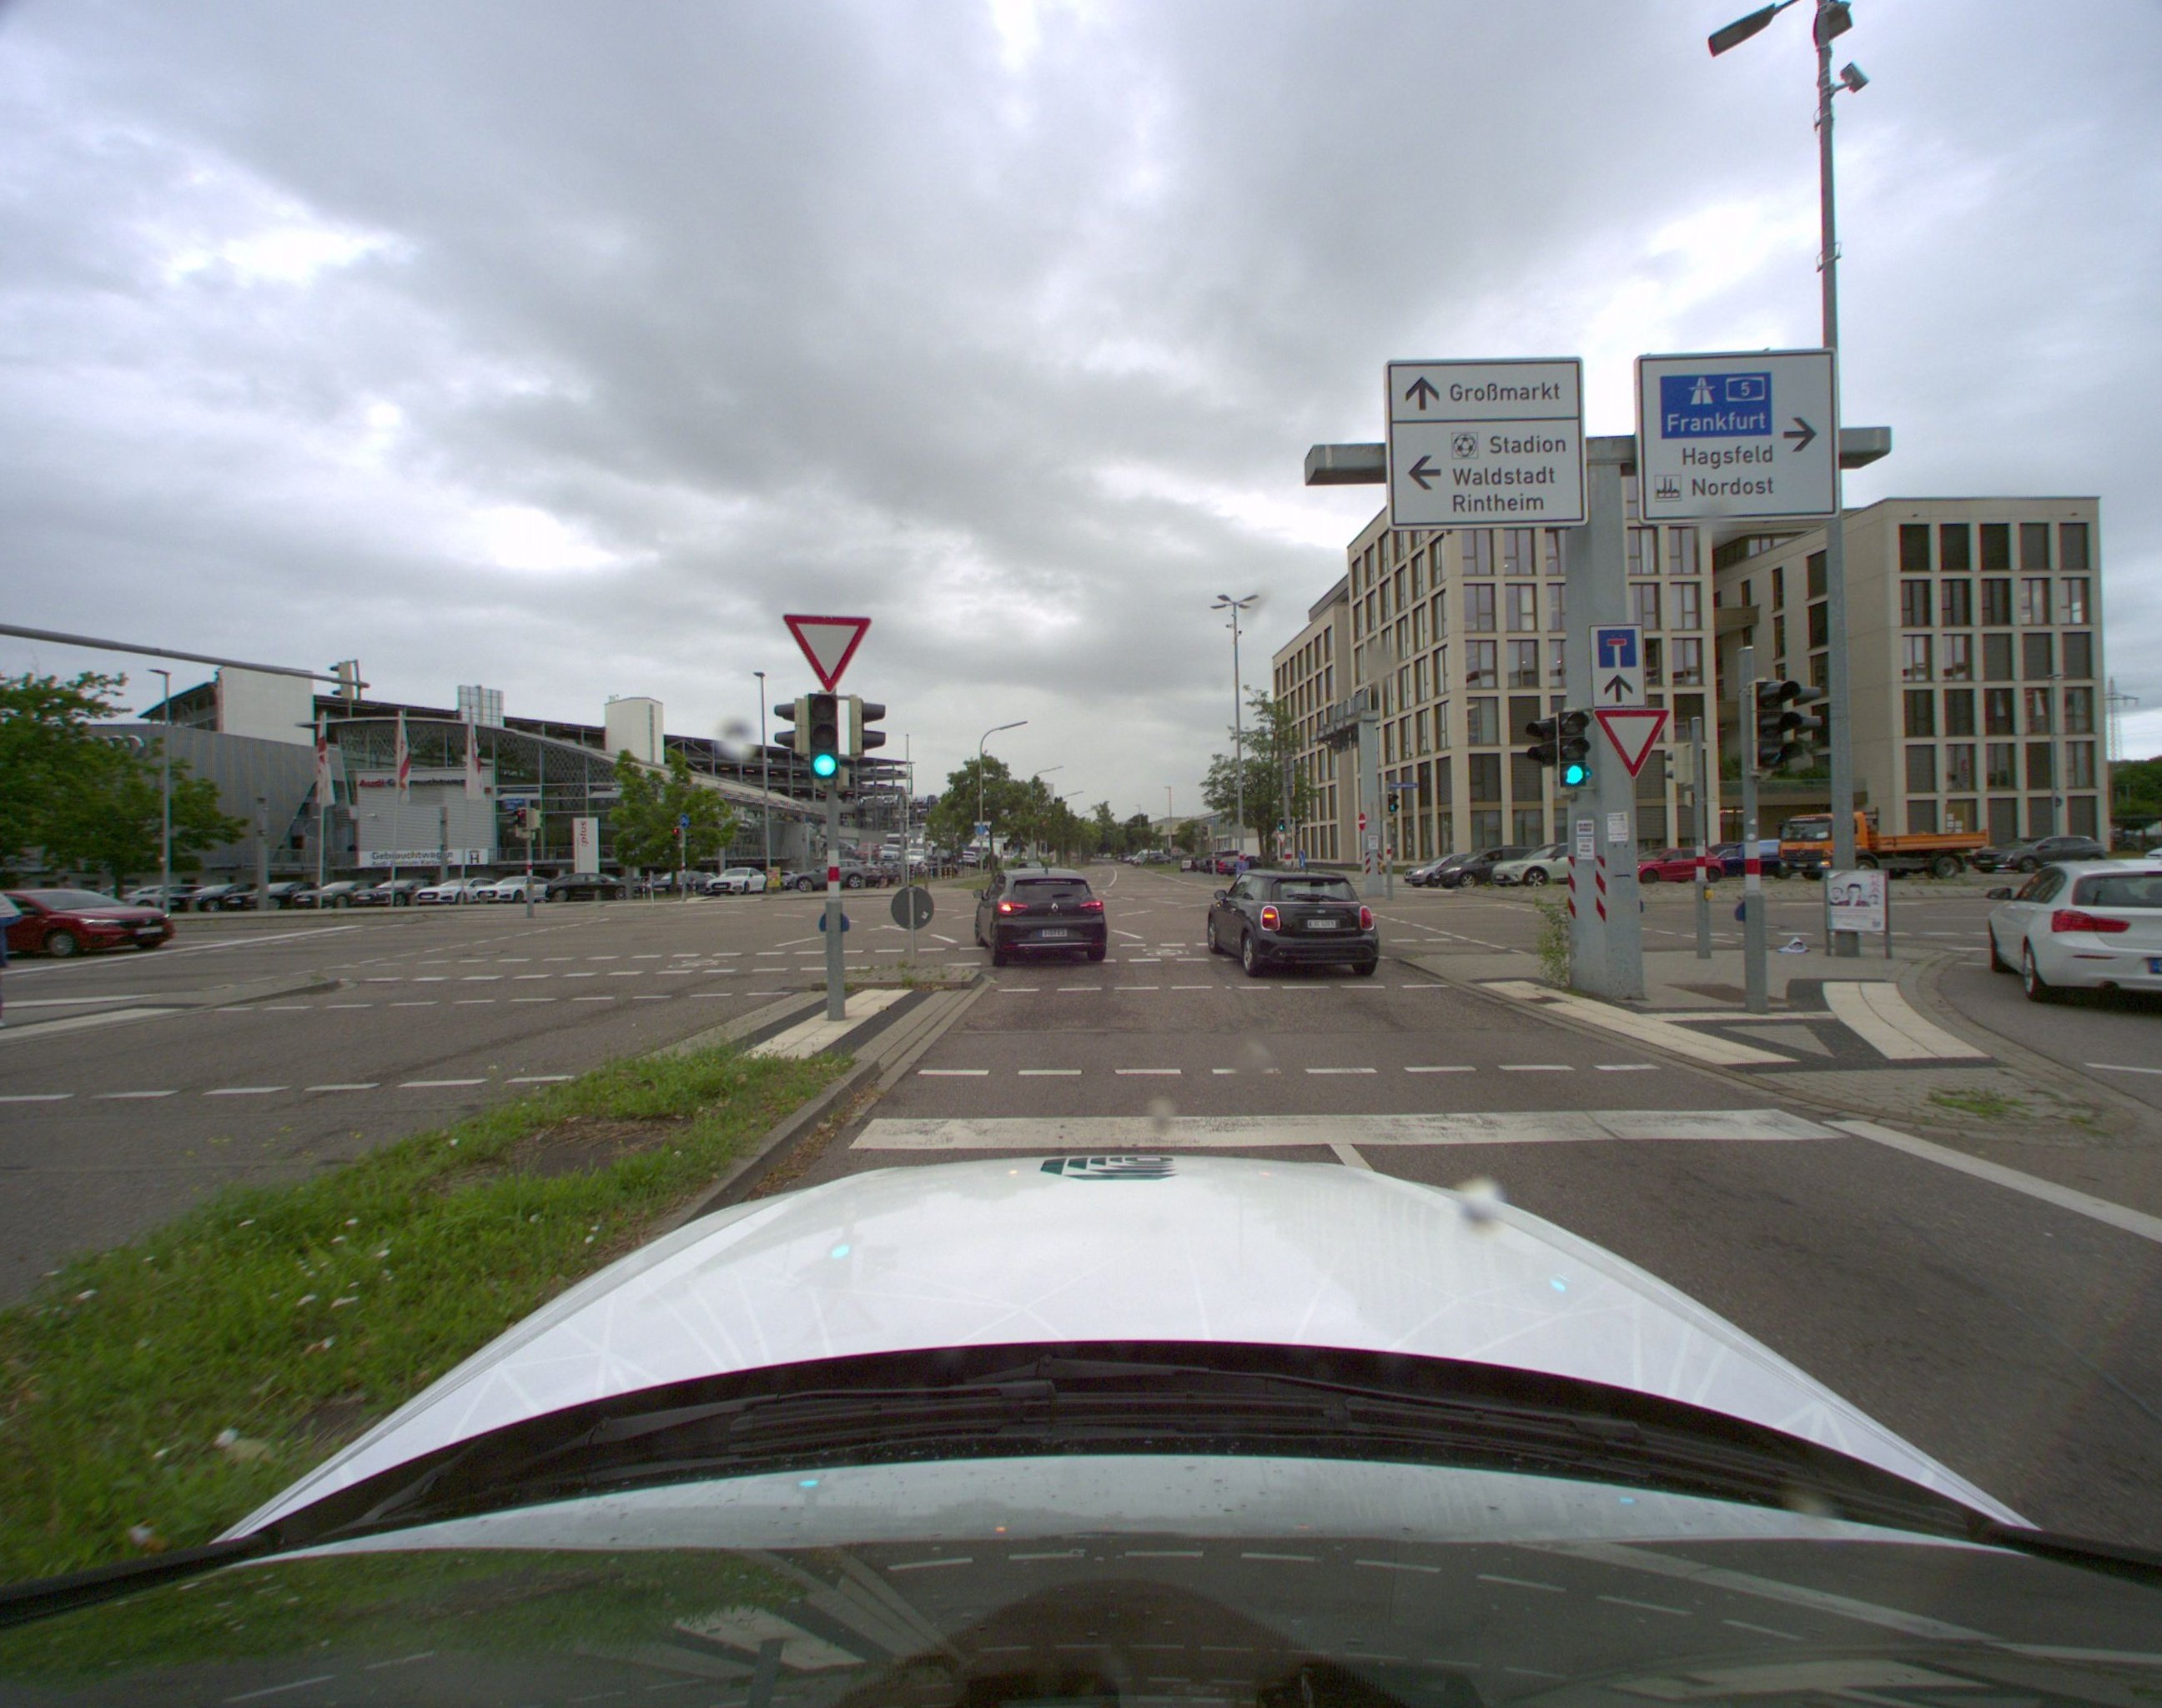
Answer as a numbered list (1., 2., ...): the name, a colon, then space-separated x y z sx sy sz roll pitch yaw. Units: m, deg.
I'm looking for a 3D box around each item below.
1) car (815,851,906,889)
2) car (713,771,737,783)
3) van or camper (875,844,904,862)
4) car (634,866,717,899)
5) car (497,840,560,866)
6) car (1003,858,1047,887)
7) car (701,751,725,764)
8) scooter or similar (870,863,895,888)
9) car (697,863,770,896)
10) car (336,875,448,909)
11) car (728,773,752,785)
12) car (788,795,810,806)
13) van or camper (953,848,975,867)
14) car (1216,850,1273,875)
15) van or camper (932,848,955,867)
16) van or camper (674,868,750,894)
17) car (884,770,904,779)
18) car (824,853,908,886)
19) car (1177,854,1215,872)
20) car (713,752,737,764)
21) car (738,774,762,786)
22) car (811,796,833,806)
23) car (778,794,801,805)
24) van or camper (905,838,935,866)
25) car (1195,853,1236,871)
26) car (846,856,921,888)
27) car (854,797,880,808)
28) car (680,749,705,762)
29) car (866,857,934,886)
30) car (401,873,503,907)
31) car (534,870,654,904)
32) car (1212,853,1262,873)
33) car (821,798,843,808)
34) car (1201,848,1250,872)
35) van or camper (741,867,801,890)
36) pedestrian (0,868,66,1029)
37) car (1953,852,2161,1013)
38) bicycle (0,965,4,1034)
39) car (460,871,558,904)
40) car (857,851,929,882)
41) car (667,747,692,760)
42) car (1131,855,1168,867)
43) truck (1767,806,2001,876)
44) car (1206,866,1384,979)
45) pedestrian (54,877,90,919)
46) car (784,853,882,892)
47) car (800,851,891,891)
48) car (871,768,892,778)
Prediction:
1. car: -13.714 0.991 50.898 5.012 2.014 2.263 -3 -1 -3
2. car: -61.649 -13.271 140.937 3.948 1.667 2.013 -1 0 33
3. van or camper: -18.251 -0.096 77.796 1.988 1.651 3.996 0 -1 -2
4. car: -20.105 1.462 40.641 2.059 1.486 4.510 -3 -3 -3
5. car: -38.218 -0.043 56.455 1.815 1.662 3.995 0 -1 -3
6. car: -3.186 1.015 47.110 1.971 1.551 4.617 -1 0 2
7. car: -62.871 -16.423 139.069 3.948 1.667 2.013 -1 0 33
8. scooter or similar: -10.372 1.122 42.581 0.553 1.219 1.566 1 0 15
9. car: -17.301 1.297 40.782 1.863 1.486 4.226 -2 -2 -1
10. car: -33.260 1.848 39.506 1.860 1.486 4.229 -1 -3 -1
11. car: -59.987 -13.226 143.059 3.948 1.667 2.013 -1 0 33
12. car: -53.342 -10.079 153.903 3.948 1.667 2.013 -1 0 33
13. van or camper: -12.784 0.390 89.233 1.988 2.014 3.996 0 -1 -2
14. car: 12.176 0.633 60.525 4.153 1.768 1.867 0 -1 -38
15. van or camper: -14.983 0.381 89.083 1.988 2.014 3.996 0 -1 -2
16. van or camper: -23.910 1.759 52.937 3.977 1.677 1.998 0 -1 -3
17. car: -40.141 -17.107 175.123 3.948 1.667 2.013 -1 0 33
18. car: -14.063 1.030 53.534 4.939 1.876 2.050 -3 -1 -5
19. car: 10.972 0.866 77.857 3.451 1.732 1.745 1 -2 -40
20. car: -61.755 -16.591 141.233 3.948 1.667 2.013 -1 0 33
21. car: -58.909 -13.189 145.029 3.948 1.667 2.013 -1 0 33
22. car: -50.343 -10.213 158.503 3.948 1.667 2.013 -1 0 33
23. car: -54.410 -10.118 151.952 3.948 1.667 2.013 -1 0 33
24. van or camper: -17.582 -0.170 89.168 2.529 3.027 4.839 0 -1 -2
25. car: 11.836 0.732 71.527 1.676 1.511 3.840 -2 -2 44
26. car: -14.229 1.284 58.845 4.882 2.014 1.997 -3 -1 -4
27. car: -44.688 -10.739 170.088 5.263 1.945 2.224 -1 0 30
28. car: -65.156 -16.477 136.634 3.948 1.667 2.013 -1 0 33
29. car: -14.283 1.364 64.398 4.882 2.014 1.997 -3 -1 -4
30. car: -30.513 1.768 39.664 1.866 1.486 4.041 -1 -3 -2
31. car: -24.156 1.643 40.525 4.727 1.486 1.891 -2 -3 -2
32. car: 12.465 0.728 64.908 4.157 1.551 1.865 0 -2 -44
33. car: -49.152 -10.088 160.914 3.948 1.667 2.013 -1 0 33
34. car: 12.131 0.504 68.121 1.975 1.965 4.270 -2 -2 43
35. van or camper: -24.277 1.904 63.797 3.977 1.711 1.845 0 -1 -3
36. pedestrian: -11.281 0.982 8.537 0.683 1.626 0.645 -3 0 28
37. car: 10.940 0.723 8.679 1.811 1.410 4.223 -1 -2 41
38. bicycle: -11.575 1.101 8.091 1.910 1.396 0.600 -2 0 24
39. car: -27.950 1.686 39.962 1.841 1.486 4.195 -1 -3 -1
40. car: -14.175 0.951 61.572 4.882 2.014 1.997 -3 -1 -4
41. car: -66.343 -16.523 134.480 3.948 1.667 2.013 -1 0 33
42. car: 9.861 0.963 117.553 5.158 1.720 2.142 0 -1 -1
43. truck: 31.710 -0.468 32.357 6.634 2.639 2.820 0 -1 -1
44. car: 2.966 0.897 12.071 1.779 1.416 3.644 0 -1 1
45. pedestrian: -45.821 1.981 36.978 0.715 1.871 0.672 -1 -2 -3
46. car: -13.741 1.022 45.317 4.762 1.863 1.997 -3 -1 -4
47. car: -13.775 0.993 47.889 4.690 2.014 1.998 -3 -1 -3
48. car: -42.102 -17.009 171.802 3.948 1.667 2.013 -1 0 33
